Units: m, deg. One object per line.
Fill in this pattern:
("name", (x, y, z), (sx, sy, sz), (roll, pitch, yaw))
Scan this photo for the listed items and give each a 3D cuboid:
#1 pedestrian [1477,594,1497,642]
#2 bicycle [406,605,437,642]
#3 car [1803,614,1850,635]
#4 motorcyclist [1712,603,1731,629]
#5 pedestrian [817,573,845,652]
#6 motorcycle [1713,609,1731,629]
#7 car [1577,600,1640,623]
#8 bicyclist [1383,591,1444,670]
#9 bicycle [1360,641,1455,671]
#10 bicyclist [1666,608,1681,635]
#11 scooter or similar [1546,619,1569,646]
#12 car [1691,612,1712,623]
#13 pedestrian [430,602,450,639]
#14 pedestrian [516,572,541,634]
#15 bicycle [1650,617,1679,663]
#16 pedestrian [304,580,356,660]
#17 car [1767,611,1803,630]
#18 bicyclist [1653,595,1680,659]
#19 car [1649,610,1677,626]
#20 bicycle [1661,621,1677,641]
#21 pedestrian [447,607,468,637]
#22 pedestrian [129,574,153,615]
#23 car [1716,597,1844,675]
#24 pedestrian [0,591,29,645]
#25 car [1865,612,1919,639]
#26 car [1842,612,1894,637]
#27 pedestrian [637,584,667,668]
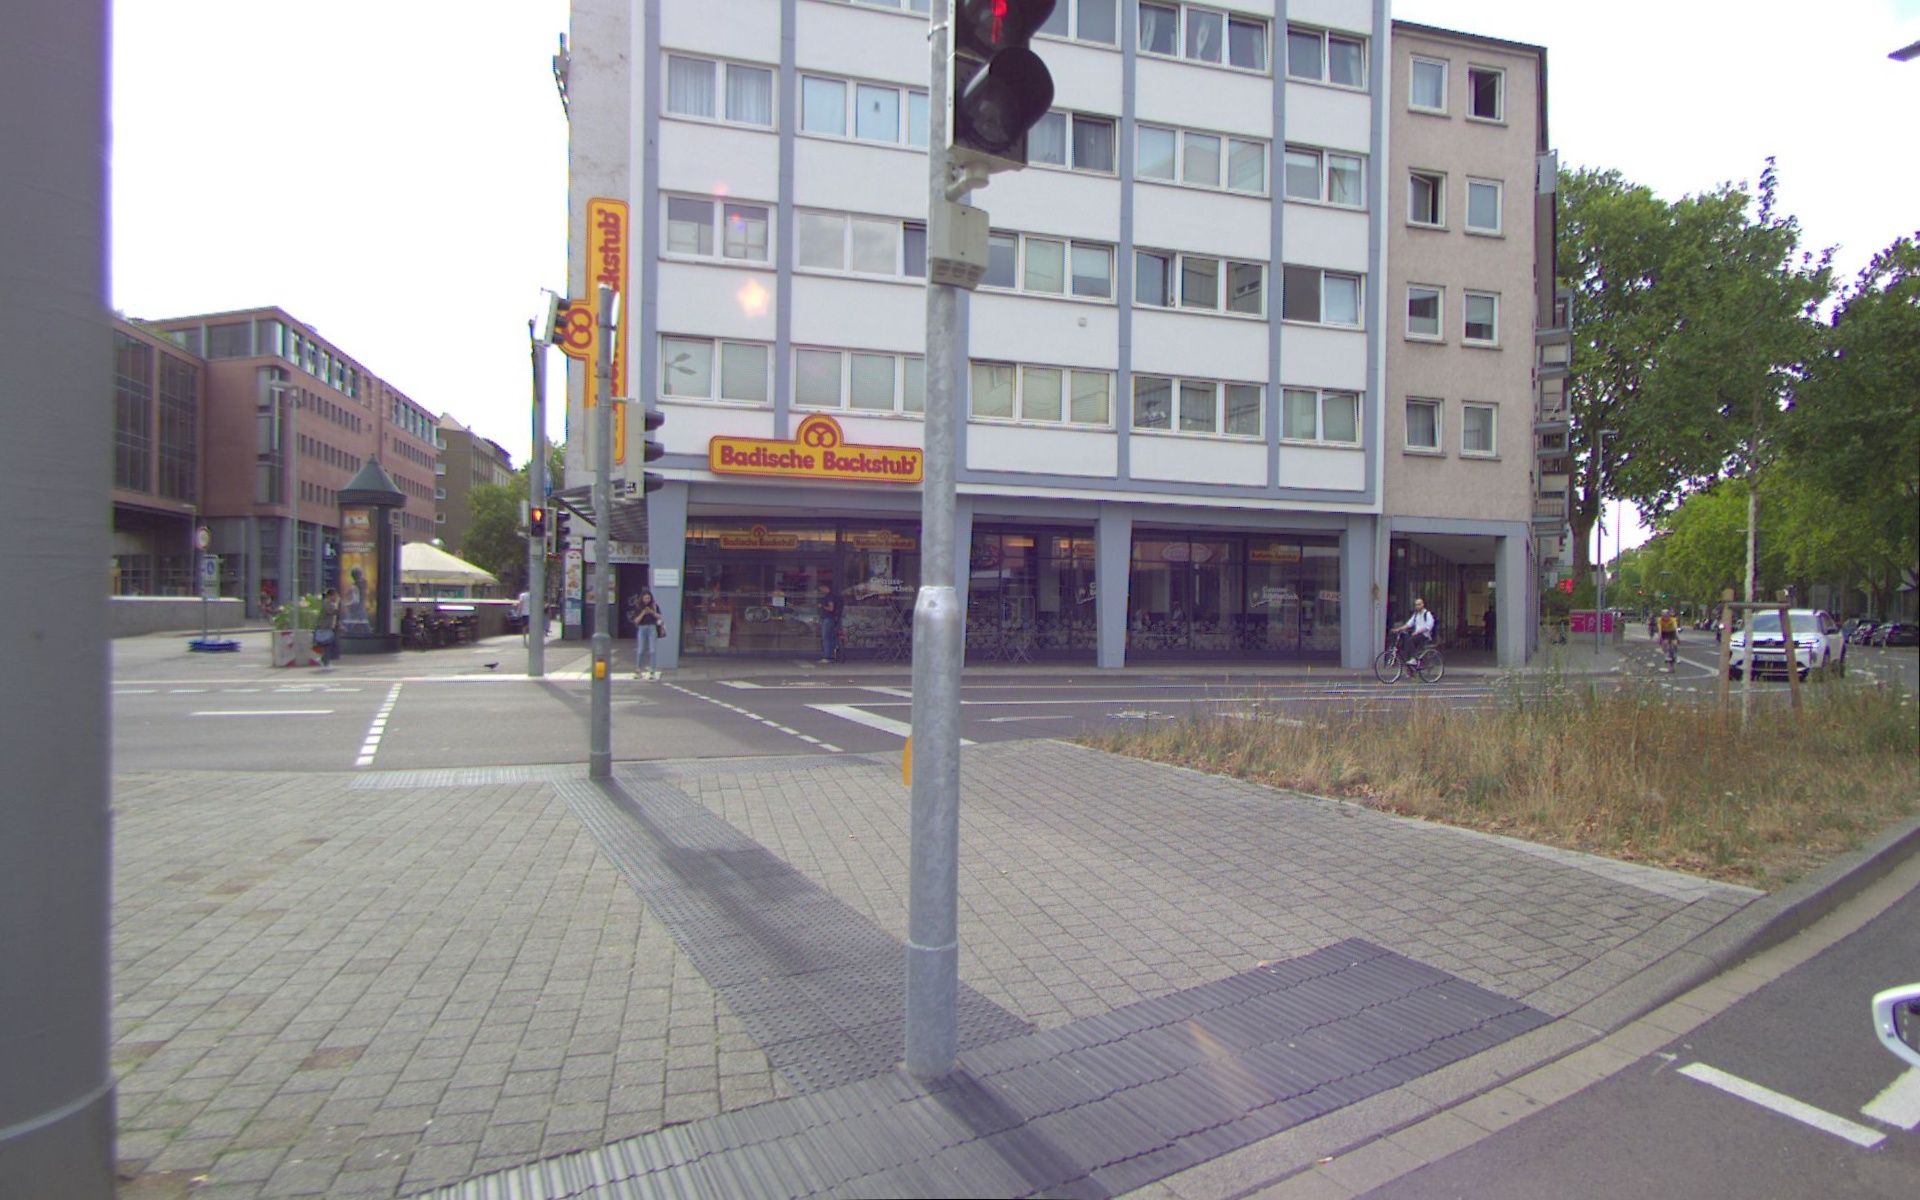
("pedestrian", (20.333, 0.685, 38.742), (0.573, 1.780, 0.782), (3, 1, 31))
("bicycle", (-15.329, 0.647, 28.565), (0.469, 1.002, 1.769), (1, 0, -38))
("car", (61.506, 1.728, 71.371), (1.651, 1.412, 4.453), (2, 0, 30))
("motorcyclist", (43.786, 0.910, 57.762), (0.785, 1.479, 0.862), (-1, -2, 35))
("pedestrian", (-2.994, 0.287, 23.328), (0.579, 1.789, 0.476), (0, 0, -14))
("motorcycle", (43.723, 1.116, 57.660), (0.712, 1.109, 2.030), (-1, -2, 34))
("car", (52.691, 0.910, 81.740), (4.196, 1.627, 1.963), (3, 2, 32))
("bicyclist", (9.806, 0.658, 21.712), (1.019, 1.668, 0.608), (1, 0, -11))
("bicycle", (9.704, 1.215, 21.790), (1.963, 0.596, 0.484), (1, 0, -11))
("bicyclist", (42.207, 1.278, 59.390), (0.648, 1.546, 0.999), (3, 2, 35))
("scooter or similar", (28.844, 1.570, 48.491), (0.281, 1.281, 1.176), (1, 0, -5))
("car", (97.175, 2.255, 131.675), (1.651, 1.412, 3.871), (2, 0, 30))
("pedestrian", (-16.039, 0.626, 30.970), (0.439, 1.148, 0.529), (0, 0, -43))
("pedestrian", (-13.359, 0.102, 31.116), (0.571, 1.884, 0.862), (1, 0, -15))
("bicycle", (19.729, 1.099, 28.133), (0.504, 1.241, 1.561), (1, 0, 30))
("pedestrian", (-13.013, 0.400, 20.752), (0.649, 1.615, 0.687), (1, 0, 33))
("car", (69.747, 1.733, 85.007), (1.606, 1.489, 4.309), (2, 0, 30))
("bicyclist", (19.808, 0.747, 28.171), (0.530, 1.766, 0.756), (1, 0, 30))
("car", (66.345, 1.672, 94.845), (1.784, 1.426, 4.599), (1, 0, 31))
("bicycle", (41.808, 1.818, 59.212), (0.728, 1.020, 1.902), (3, 2, 35))
("pedestrian", (-16.529, 0.716, 33.039), (0.514, 0.974, 0.458), (1, 0, -10))
("pedestrian", (-34.315, -0.236, 42.091), (0.571, 1.685, 0.519), (1, 0, -13))
("car", (19.685, 0.802, 24.054), (4.294, 1.682, 1.814), (1, 0, -43))
("pedestrian", (-28.227, 0.538, 29.946), (0.512, 1.598, 0.506), (1, 0, -12))
("car", (54.366, 1.484, 58.538), (1.633, 1.441, 3.858), (1, 1, 30))
("car", (56.680, 1.494, 62.767), (1.633, 1.441, 3.938), (1, 1, 30))
("pedestrian", (-5.903, 0.499, 19.233), (0.510, 1.580, 0.498), (1, 0, -21))
